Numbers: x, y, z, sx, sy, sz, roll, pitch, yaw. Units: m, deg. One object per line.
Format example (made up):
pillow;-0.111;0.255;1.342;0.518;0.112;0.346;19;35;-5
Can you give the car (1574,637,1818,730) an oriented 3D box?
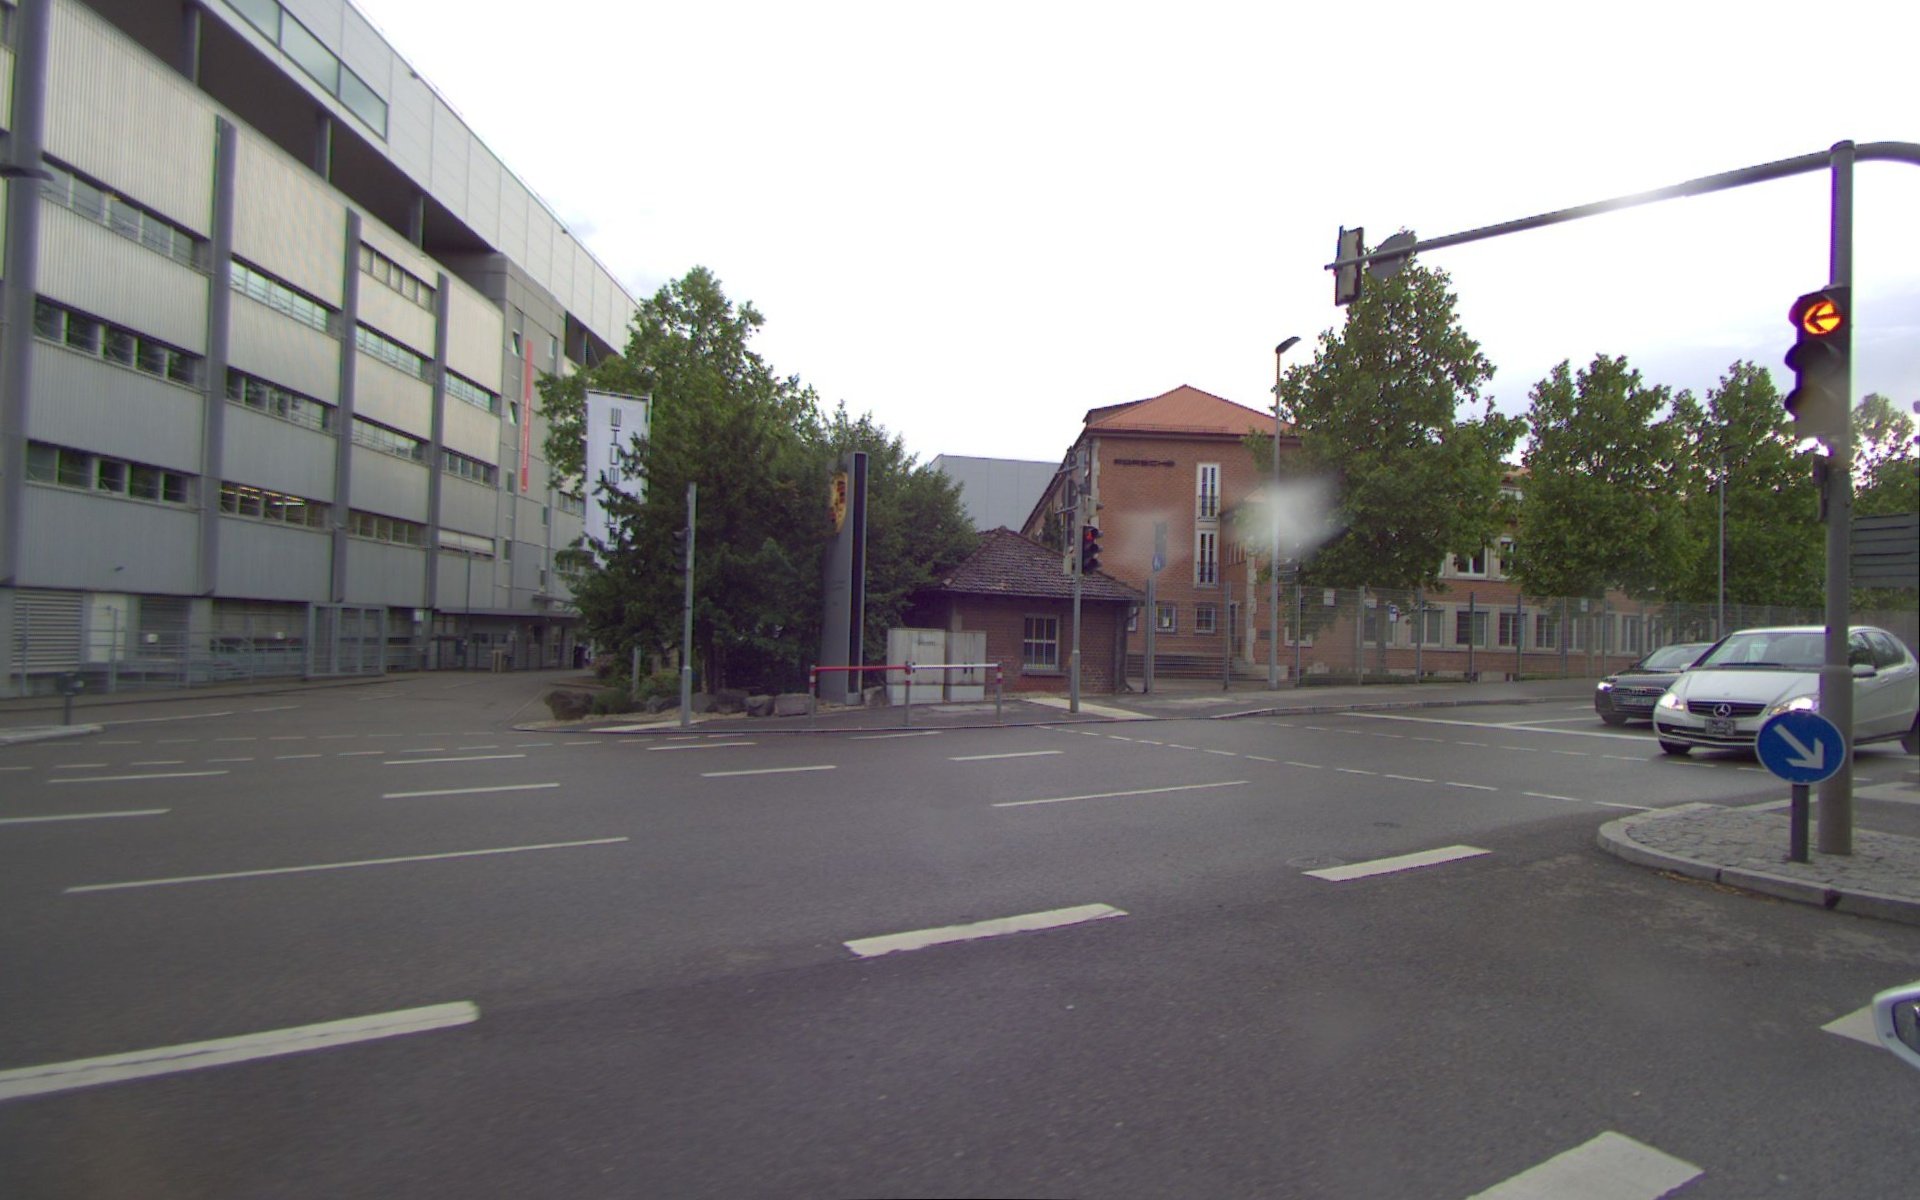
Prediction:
car;12.809;1.368;17.424;4.561;1.422;1.765;2;-3;-31

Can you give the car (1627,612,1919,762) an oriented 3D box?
car;10.576;1.034;12.691;4.431;1.610;1.764;2;-3;-29
